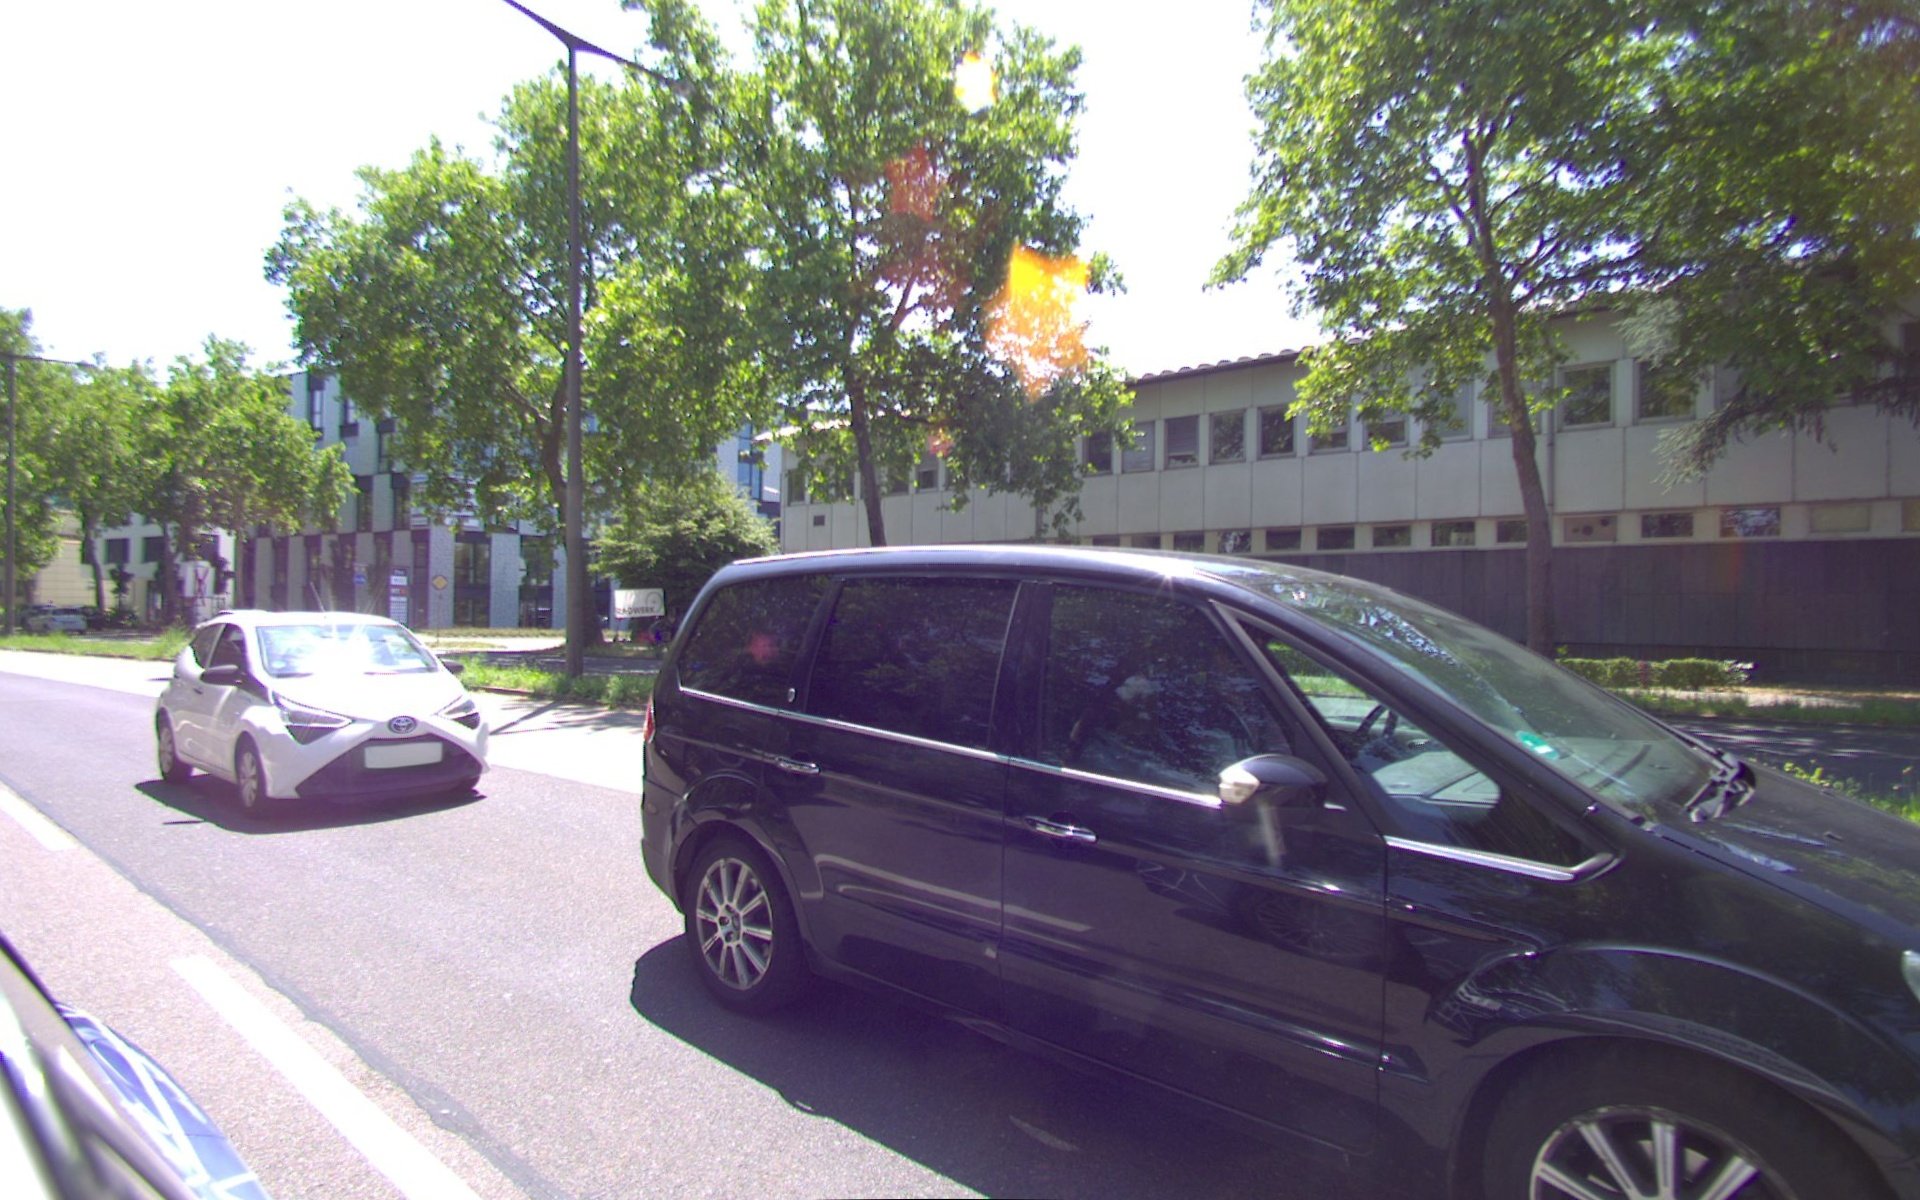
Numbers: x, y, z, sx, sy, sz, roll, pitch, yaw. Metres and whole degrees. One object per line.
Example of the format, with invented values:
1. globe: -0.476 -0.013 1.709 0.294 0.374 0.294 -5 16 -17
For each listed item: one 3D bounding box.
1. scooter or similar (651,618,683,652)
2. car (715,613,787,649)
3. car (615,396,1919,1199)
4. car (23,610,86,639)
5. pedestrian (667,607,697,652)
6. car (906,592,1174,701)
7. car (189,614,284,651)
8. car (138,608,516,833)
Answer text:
1. scooter or similar: -10.433 1.245 36.033 0.857 1.172 0.672 -1 -2 34
2. car: -10.308 1.478 49.823 3.527 1.659 1.796 0 0 43
3. car: 0.916 0.585 3.327 4.647 1.769 1.834 -1 -1 41
4. car: -48.288 1.298 53.964 3.665 1.470 1.717 0 -2 35
5. pedestrian: -9.755 1.022 35.559 0.789 1.572 0.636 -1 -2 34
6. car: 1.329 0.753 17.870 4.438 1.692 1.893 -1 -1 39
7. car: -29.853 1.300 41.721 4.539 1.429 1.836 -1 -2 36
8. car: -5.342 0.815 8.380 3.649 1.456 1.602 -1 -2 40
